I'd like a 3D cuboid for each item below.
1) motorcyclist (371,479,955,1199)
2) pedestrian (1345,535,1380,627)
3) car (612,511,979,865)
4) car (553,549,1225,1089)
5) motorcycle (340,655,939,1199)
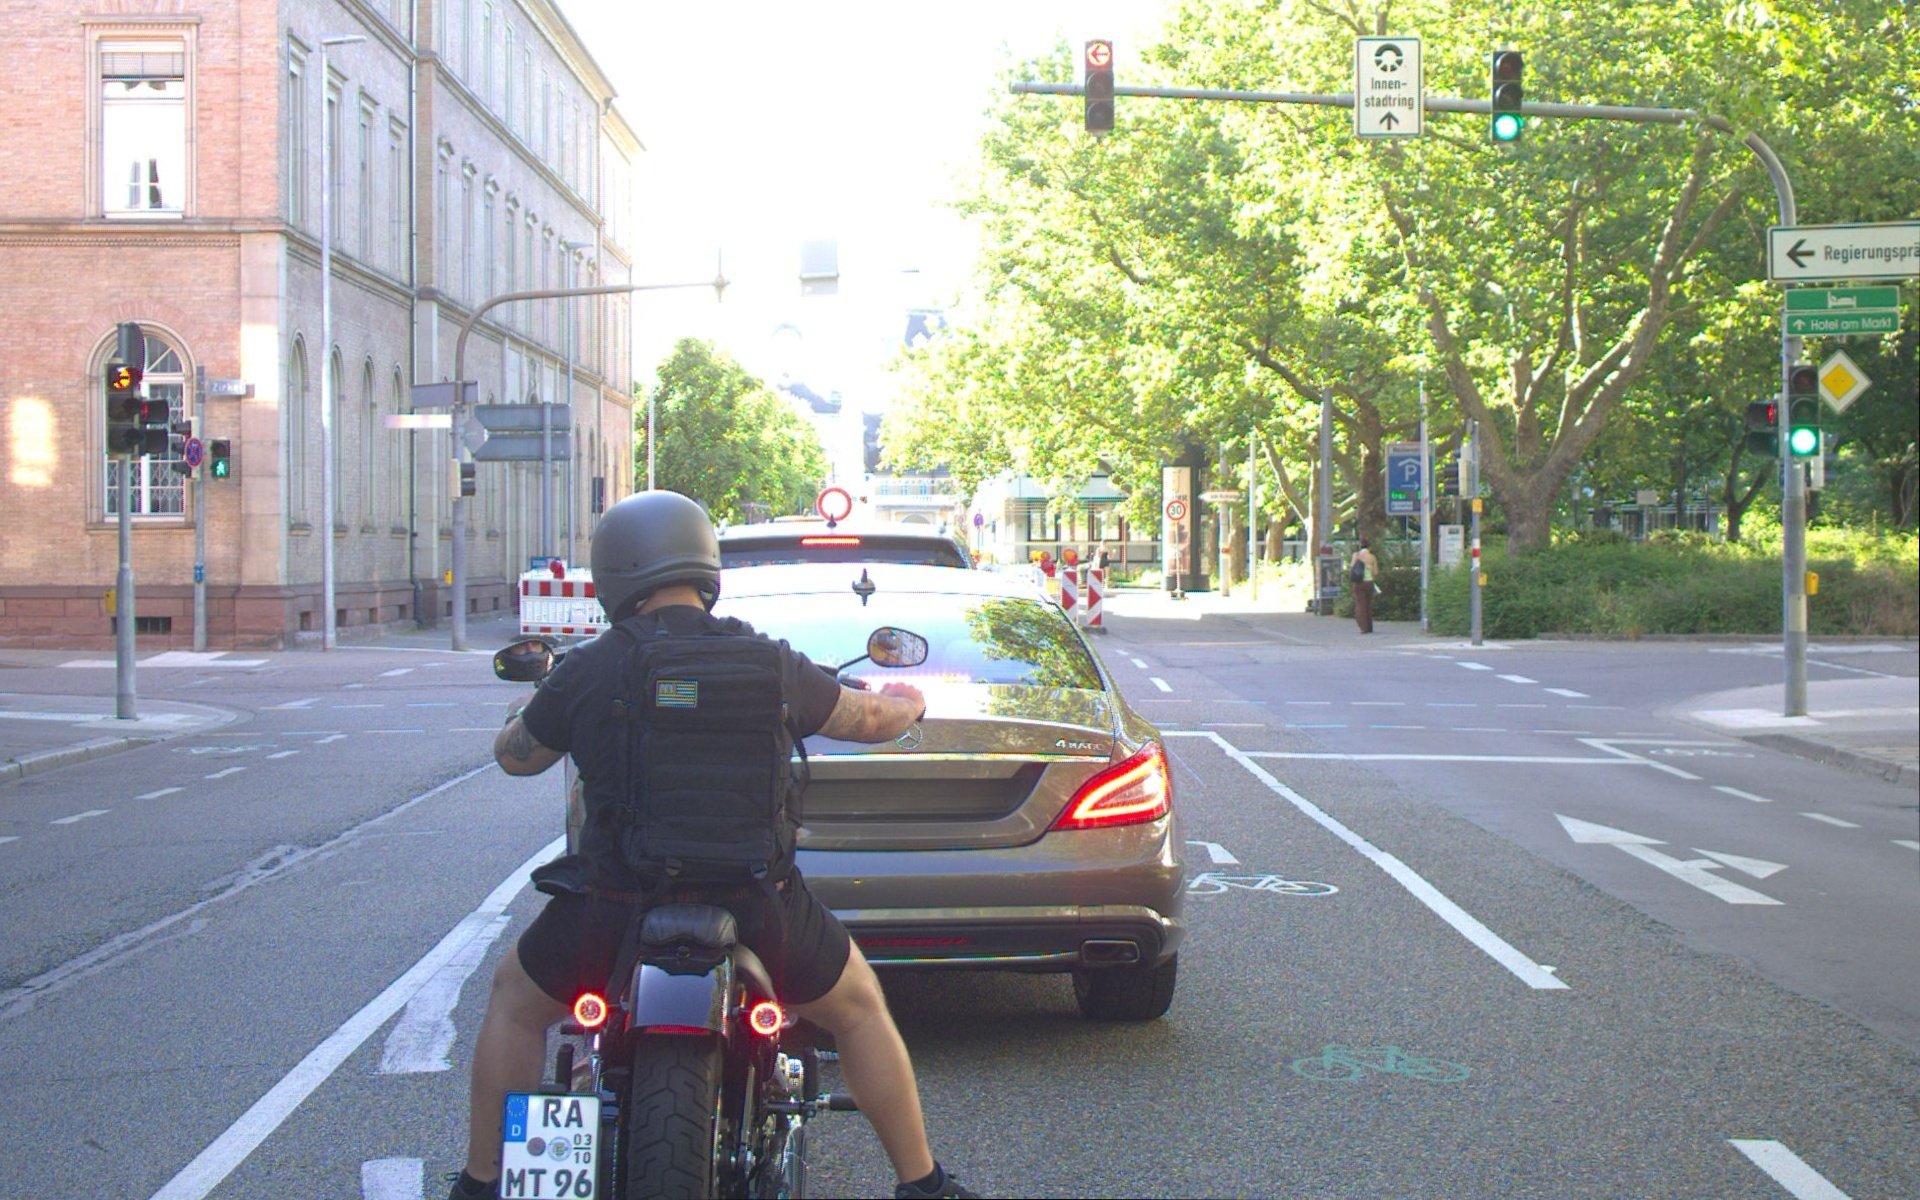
[{"bbox_3d":[-0.574,0.563,7.173,1.113,1.607,1.202,0,1,-1],"label":"motorcyclist"},{"bbox_3d":[7.348,-0.349,62.757,0.559,1.672,0.565,0,1,-1],"label":"pedestrian"},{"bbox_3d":[-0.814,0.375,17.695,1.681,1.619,3.841,0,1,-2],"label":"car"},{"bbox_3d":[-0.442,0.564,11.644,1.821,1.471,4.354,0,1,-7],"label":"car"},{"bbox_3d":[-0.556,0.762,7.130,1.007,1.200,2.665,0,1,-1],"label":"motorcycle"}]
